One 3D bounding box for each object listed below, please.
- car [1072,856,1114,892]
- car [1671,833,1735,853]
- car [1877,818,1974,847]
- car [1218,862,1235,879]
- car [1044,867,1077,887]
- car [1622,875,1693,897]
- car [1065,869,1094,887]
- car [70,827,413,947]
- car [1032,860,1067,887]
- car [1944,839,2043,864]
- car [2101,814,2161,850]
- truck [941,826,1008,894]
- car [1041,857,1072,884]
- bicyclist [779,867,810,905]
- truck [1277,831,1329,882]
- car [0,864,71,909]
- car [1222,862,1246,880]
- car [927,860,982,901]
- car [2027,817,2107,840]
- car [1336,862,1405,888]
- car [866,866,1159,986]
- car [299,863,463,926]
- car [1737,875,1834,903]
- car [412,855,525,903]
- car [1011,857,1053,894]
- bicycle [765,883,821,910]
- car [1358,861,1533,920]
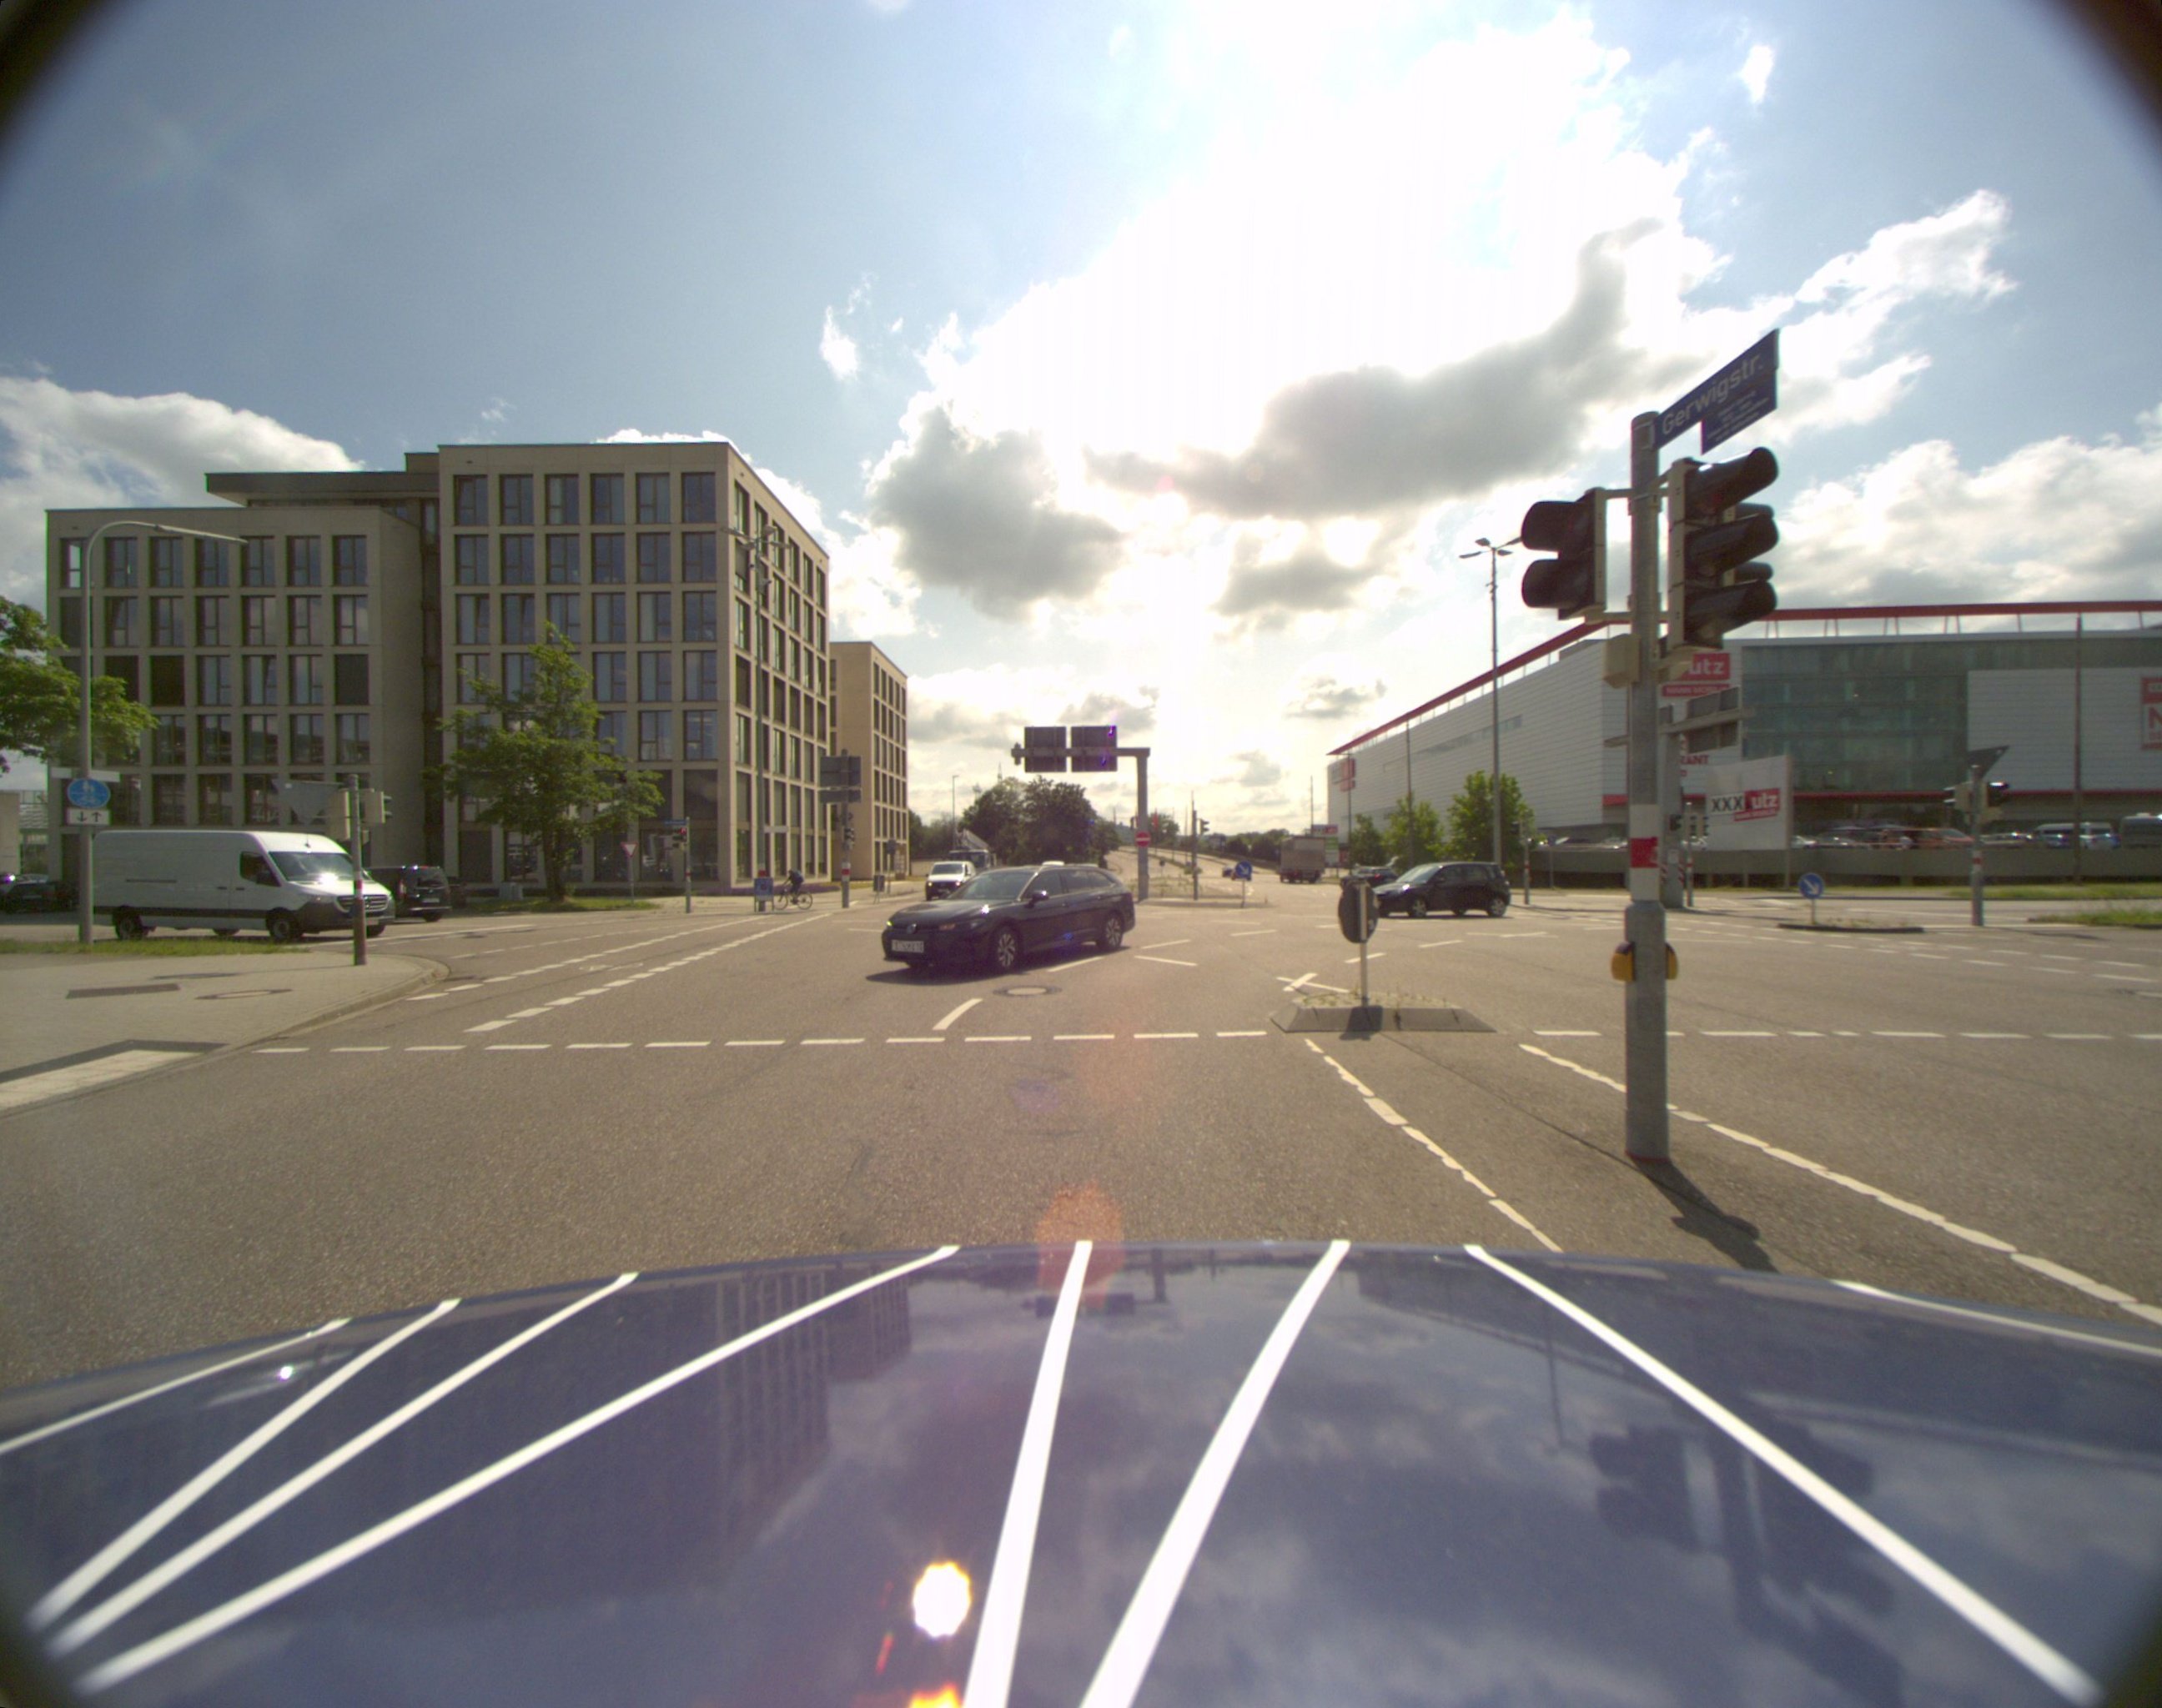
[{"bbox_3d":[0.547,1.000,37.242,1.827,1.616,4.212,-2,-2,-2],"label":"car"},{"bbox_3d":[53.446,-0.926,65.427,1.953,1.462,4.425,-1,-1,2],"label":"car"},{"bbox_3d":[59.906,-1.512,54.007,1.916,1.739,4.187,-1,-2,-9],"label":"car"},{"bbox_3d":[17.076,1.970,89.320,1.862,1.644,4.226,-1,-5,11],"label":"car"},{"bbox_3d":[-1.959,2.187,73.659,1.824,1.826,4.722,-2,-2,16],"label":"car"},{"bbox_3d":[47.960,2.637,63.285,4.360,1.739,2.001,-1,-1,1],"label":"car"},{"bbox_3d":[-0.081,2.547,80.739,1.824,1.826,4.452,-2,-2,16],"label":"car"},{"bbox_3d":[-20.518,0.831,18.680,6.854,2.591,2.141,-2,-1,8],"label":"car"},{"bbox_3d":[-1.987,1.286,48.839,1.826,1.616,4.214,-2,-2,3],"label":"car"},{"bbox_3d":[65.126,-0.133,54.351,1.953,1.595,4.425,-1,-1,4],"label":"car"},{"bbox_3d":[72.033,-1.497,50.096,1.748,2.269,5.801,-2,-2,2],"label":"car"},{"bbox_3d":[-6.131,0.493,45.268,2.673,3.533,9.785,-2,-2,-1],"label":"truck"},{"bbox_3d":[-1.765,1.251,56.378,1.826,1.826,4.448,-2,-2,4],"label":"car"},{"bbox_3d":[-11.216,1.256,29.723,0.914,1.468,0.639,-2,-1,8],"label":"bicyclist"},{"bbox_3d":[18.900,0.330,65.189,3.218,4.002,9.080,-2,-2,10],"label":"truck"},{"bbox_3d":[-49.324,1.501,34.351,1.999,2.001,4.000,-2,-2,-2],"label":"car"},{"bbox_3d":[14.774,1.639,73.660,1.862,1.645,4.222,-2,-2,7],"label":"car"},{"bbox_3d":[-6.201,1.296,37.740,1.999,1.826,4.993,-2,-2,-2],"label":"car"},{"bbox_3d":[86.783,-2.216,66.980,1.914,1.739,4.002,-2,-2,4],"label":"car"},{"bbox_3d":[17.287,1.257,45.656,1.779,1.469,4.676,-1,-1,-8],"label":"car"},{"bbox_3d":[-0.782,0.967,12.251,1.809,1.469,5.215,-2,-1,34],"label":"car"},{"bbox_3d":[-22.730,1.302,24.724,3.994,1.893,1.831,-1,-1,9],"label":"car"},{"bbox_3d":[45.974,2.264,49.646,4.360,1.739,2.001,-1,-1,1],"label":"car"},{"bbox_3d":[-27.674,1.149,34.518,1.999,2.001,4.000,-2,-2,-2],"label":"car"},{"bbox_3d":[-2.335,1.058,36.969,1.827,1.616,4.212,-2,-2,-2],"label":"car"},{"bbox_3d":[-11.274,1.654,29.721,1.975,1.005,0.650,-2,-1,9],"label":"bicycle"},{"bbox_3d":[10.078,1.006,21.101,4.271,1.521,1.606,1,-1,-12],"label":"car"}]
